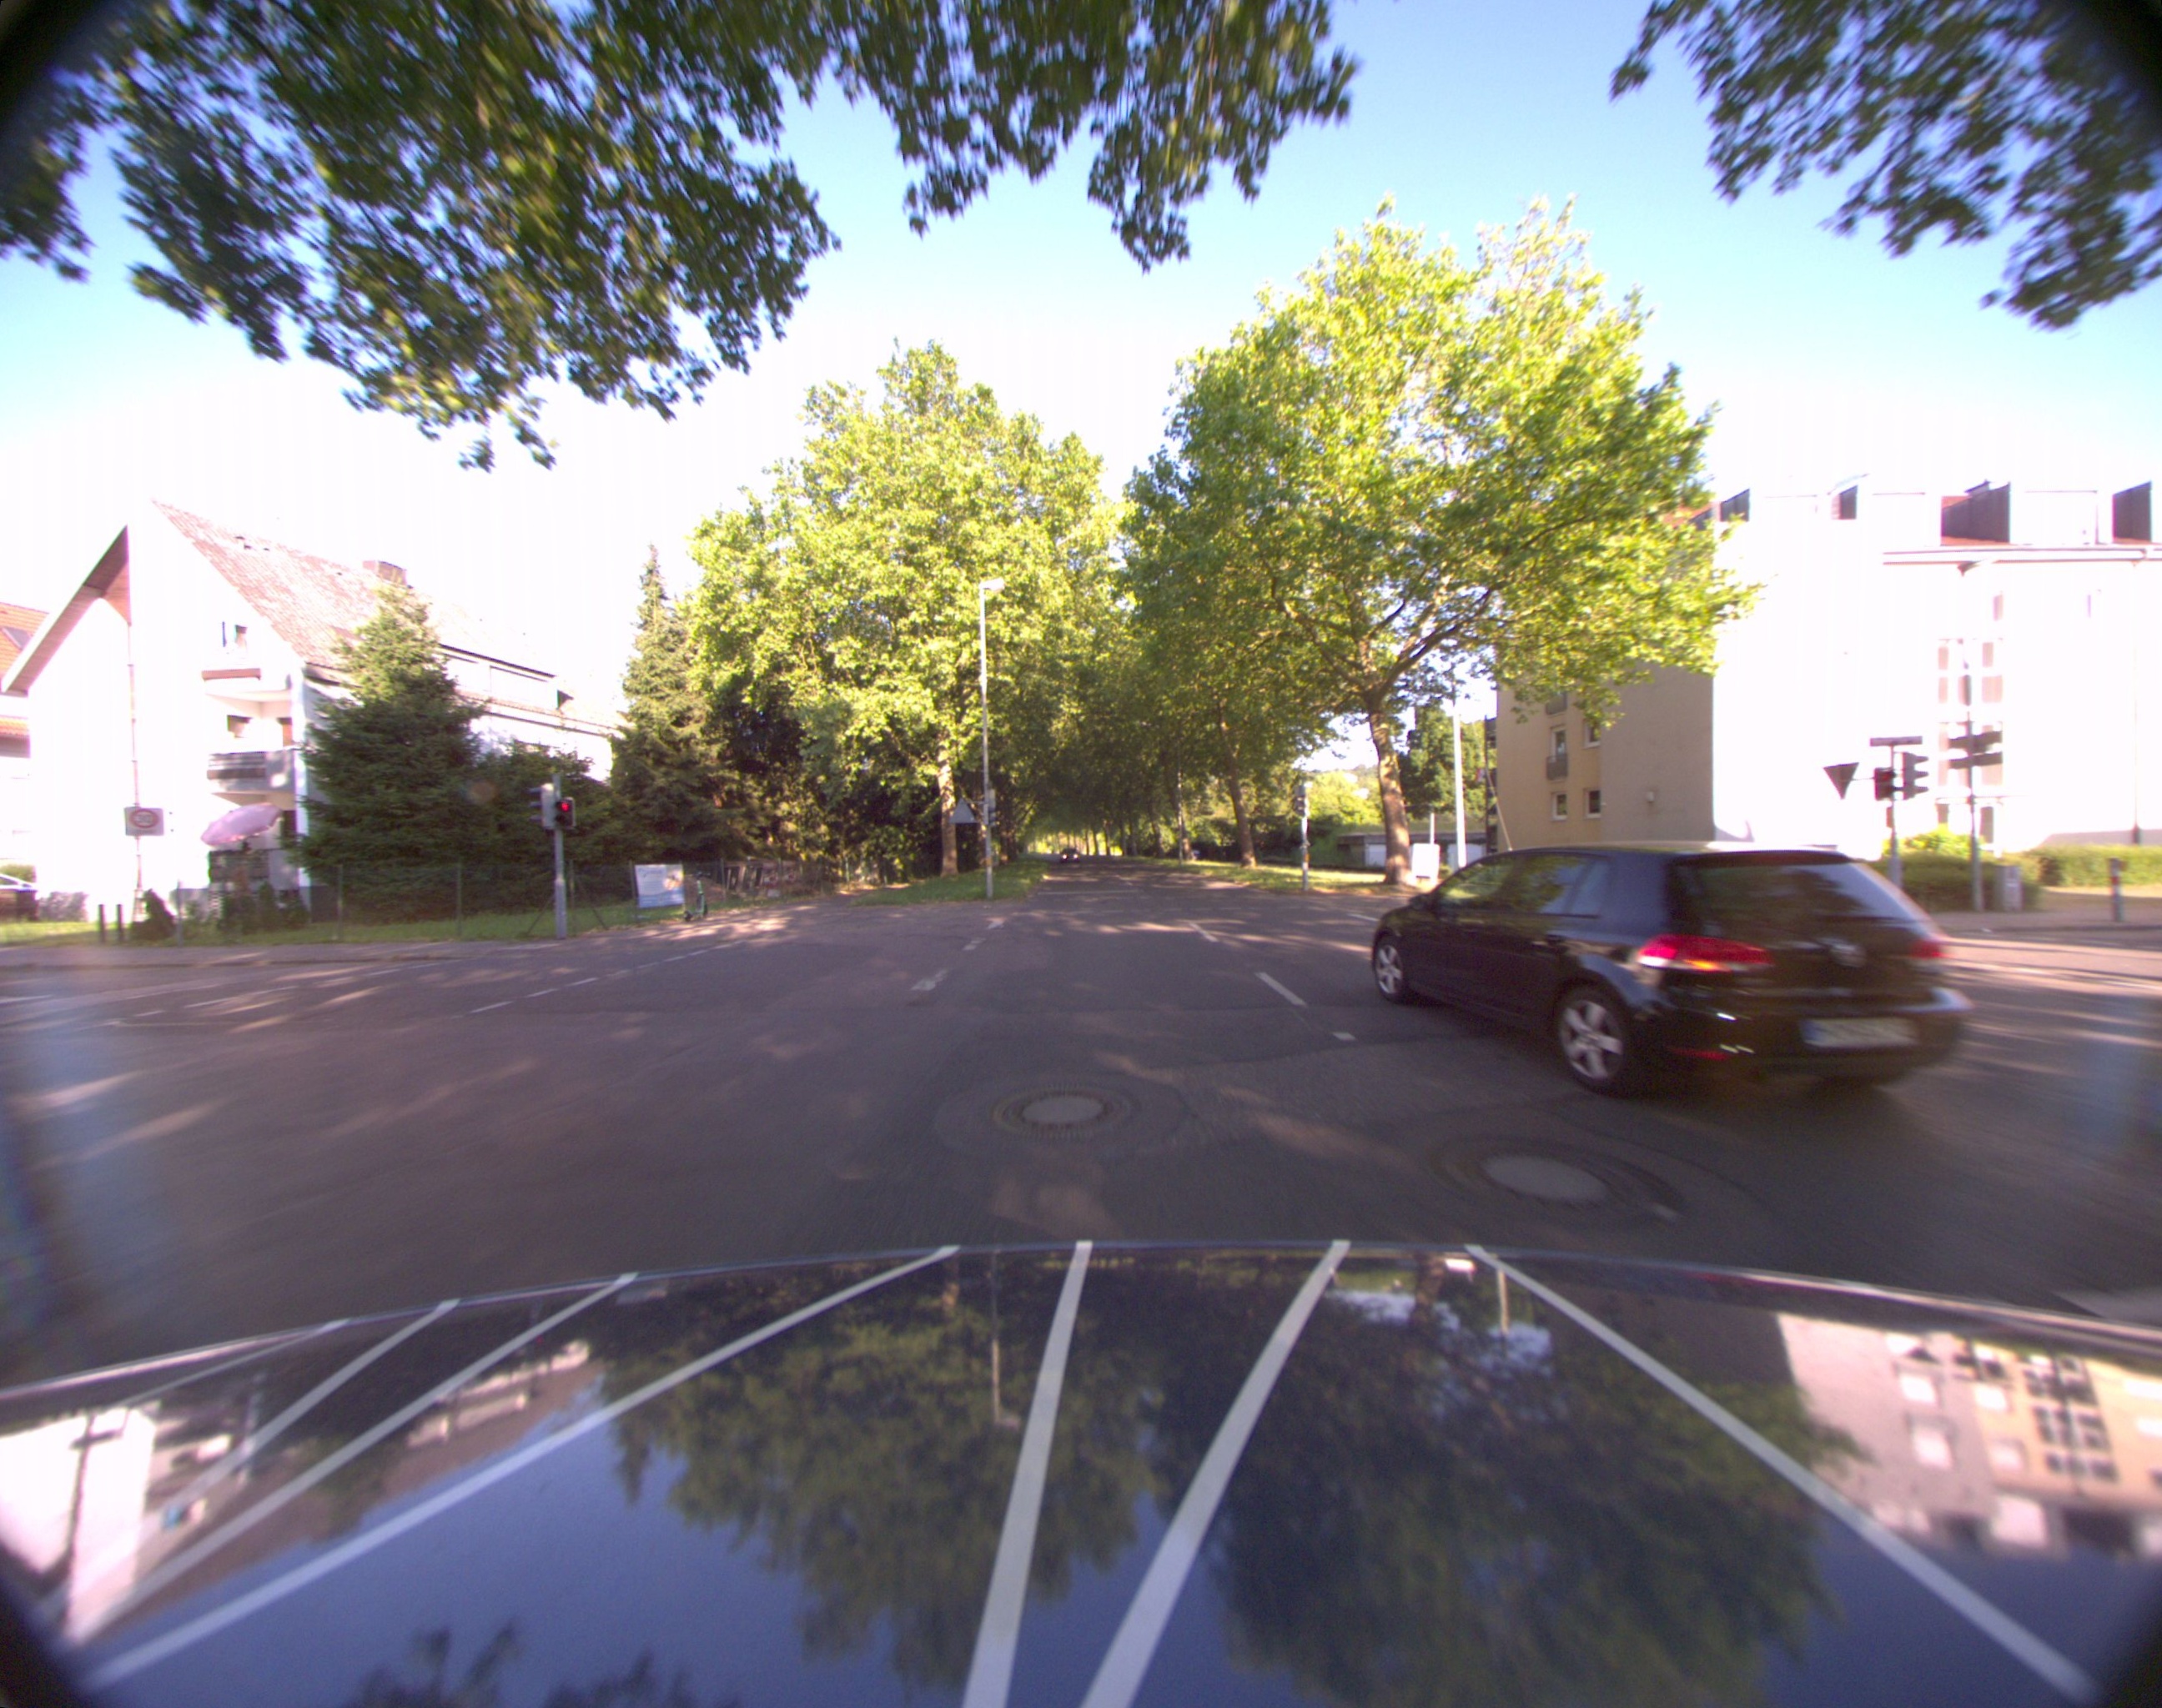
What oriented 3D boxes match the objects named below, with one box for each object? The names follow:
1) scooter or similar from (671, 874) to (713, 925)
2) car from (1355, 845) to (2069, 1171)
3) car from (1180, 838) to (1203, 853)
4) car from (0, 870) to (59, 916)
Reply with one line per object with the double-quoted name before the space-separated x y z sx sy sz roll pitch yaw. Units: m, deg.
"scooter or similar" -9.722 1.127 19.022 0.383 1.189 1.255 -2 0 -1
"car" 3.669 0.686 5.552 1.731 1.455 4.067 -1 1 -2
"car" 11.857 -0.928 81.564 1.813 1.521 3.999 -2 1 0
"car" -34.961 1.286 23.503 1.702 1.413 3.589 -2 0 15
